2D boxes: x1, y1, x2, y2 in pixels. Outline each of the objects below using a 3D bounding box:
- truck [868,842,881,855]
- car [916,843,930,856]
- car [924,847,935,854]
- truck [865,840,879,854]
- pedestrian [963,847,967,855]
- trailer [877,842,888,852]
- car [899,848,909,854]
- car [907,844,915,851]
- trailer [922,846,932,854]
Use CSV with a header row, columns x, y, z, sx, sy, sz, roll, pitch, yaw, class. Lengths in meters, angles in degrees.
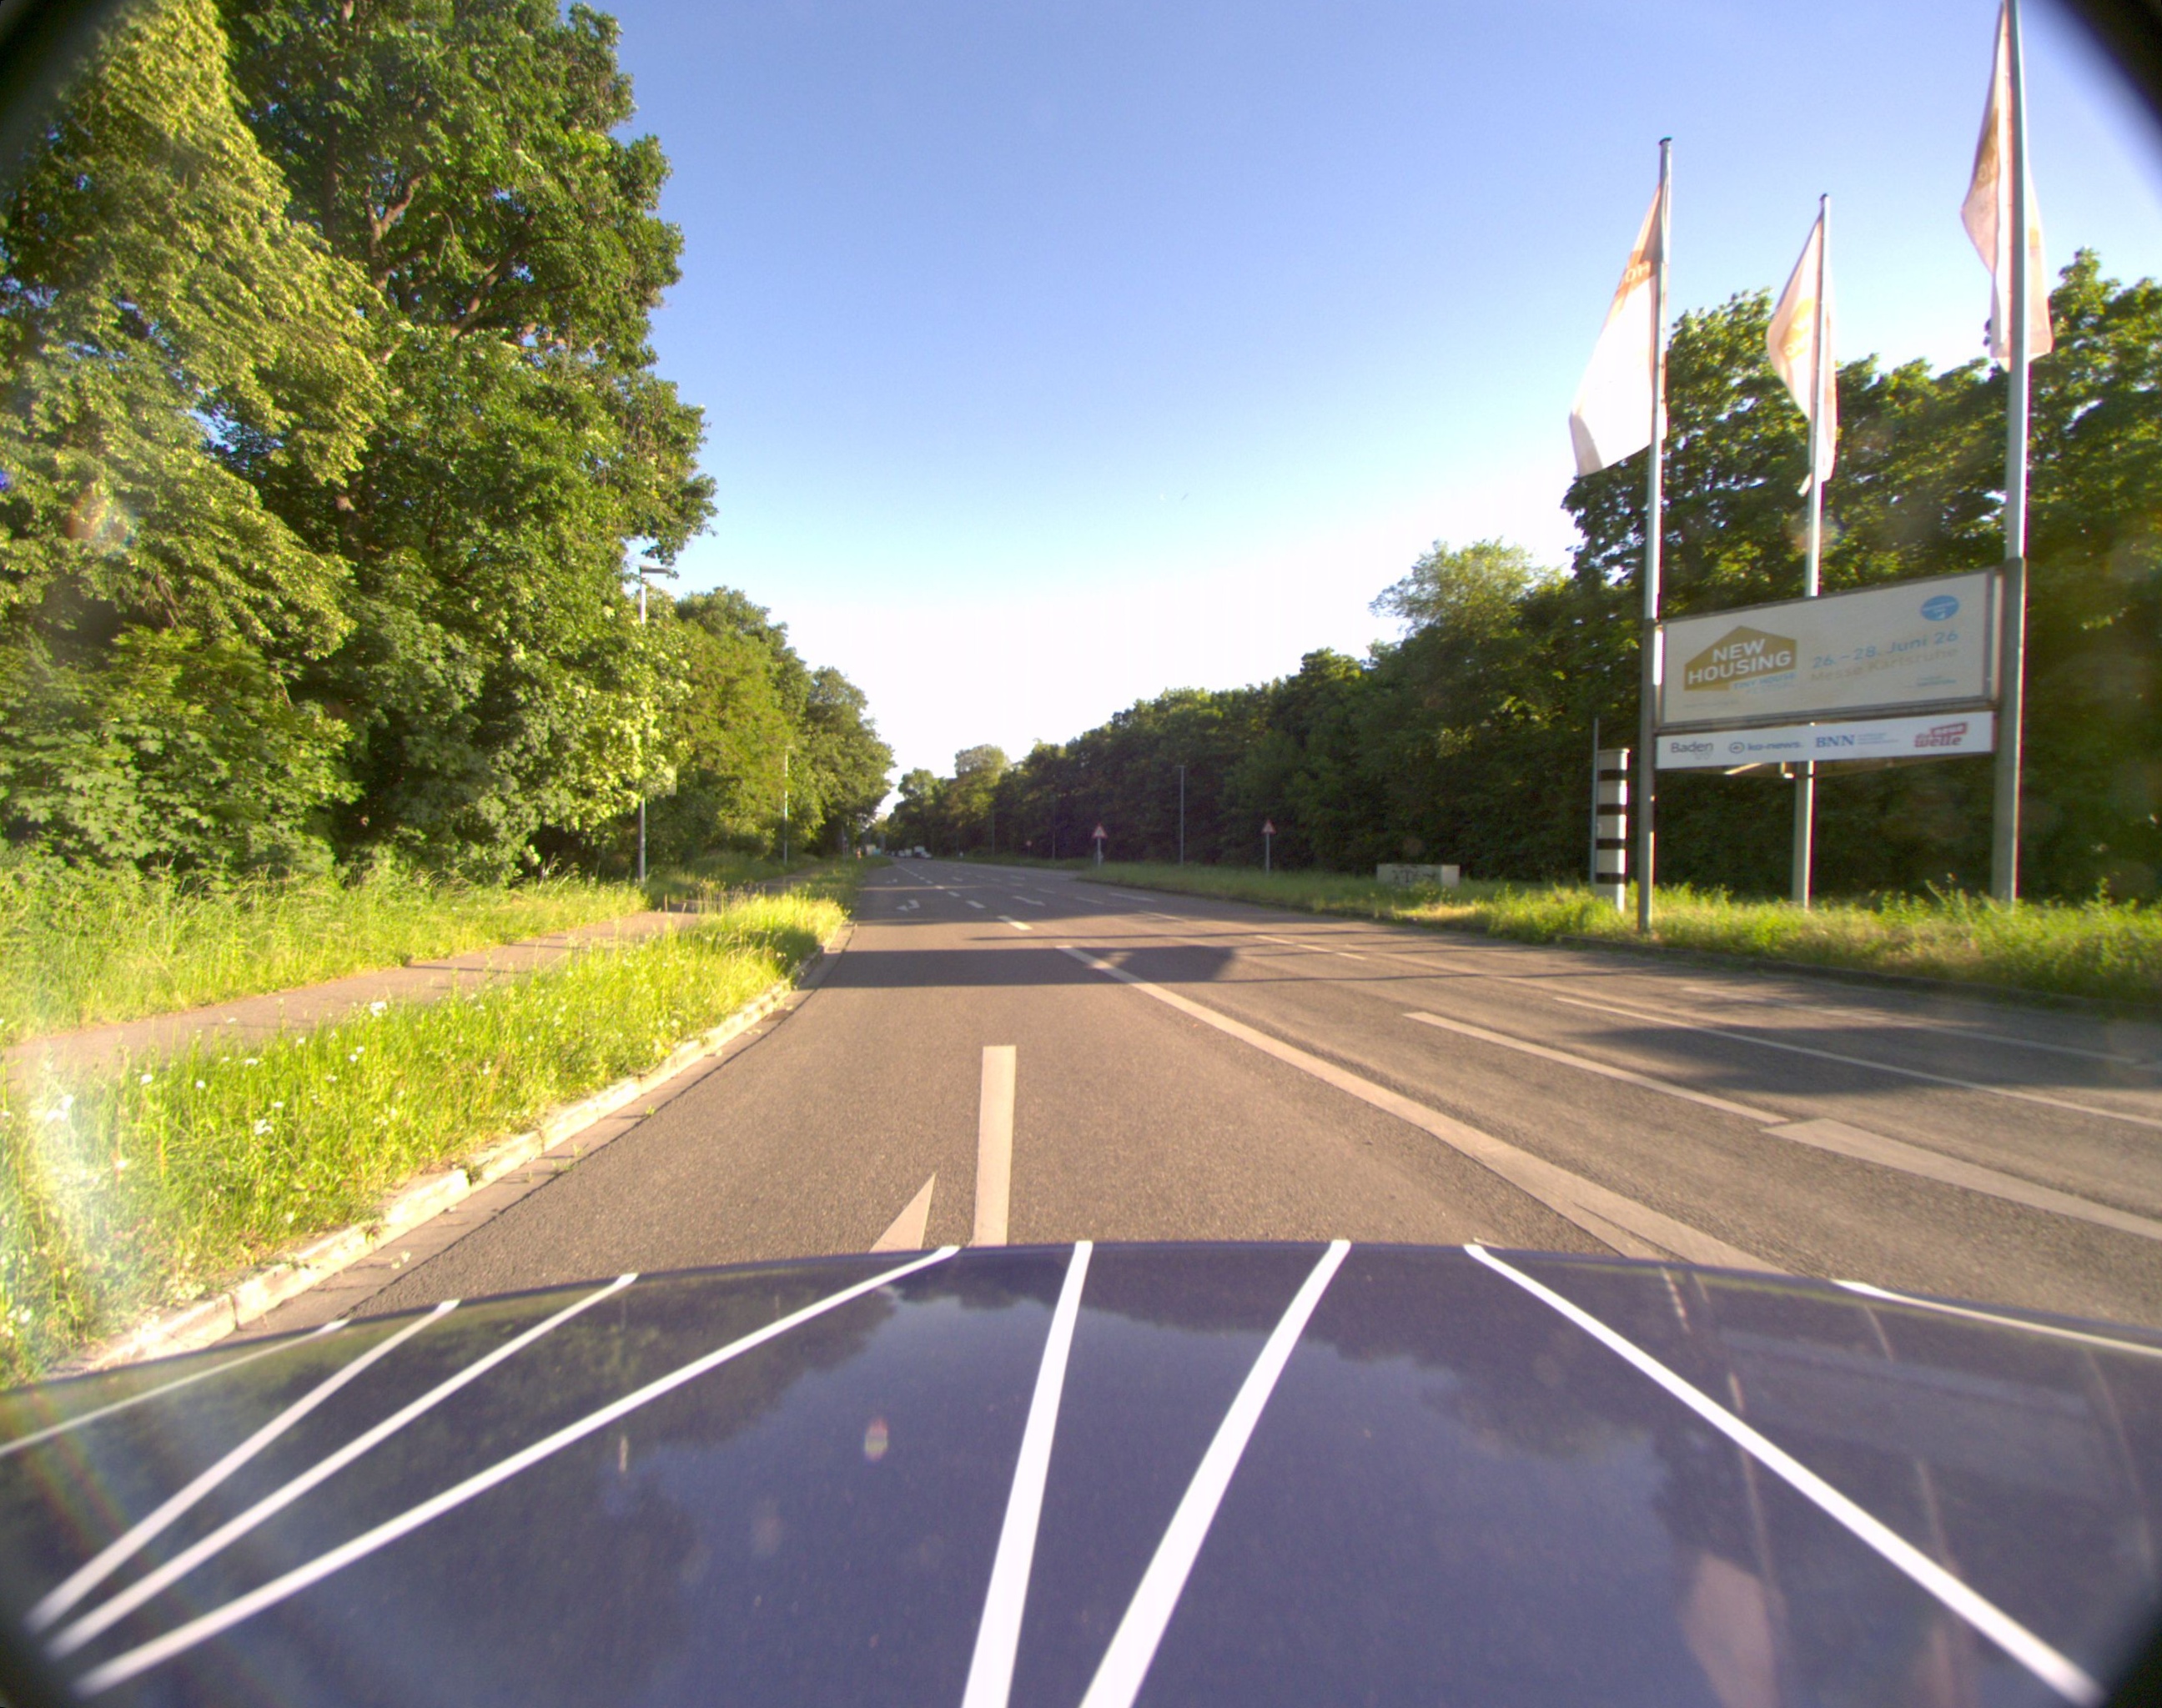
x,y,z,sx,sy,sz,roll,pitch,yaw,class
-47.158,-1.381,173.551,2.393,2.856,5.588,-2,2,-19,truck
-37.527,-1.124,180.425,2.464,2.830,4.790,2,1,-19,car
-32.766,-0.824,164.186,1.917,1.455,4.004,2,1,-19,car
-50.218,-1.797,182.541,2.710,3.218,7.115,2,1,-19,truck
-22.740,-0.528,148.725,0.714,1.556,0.825,1,1,-15,pedestrian
-41.019,-1.468,156.799,1.872,2.165,4.121,-1,2,-19,trailer
-42.305,-0.652,181.144,1.836,1.447,4.472,0,0,-20,car
-47.347,-1.822,211.159,1.694,2.089,4.624,2,1,-19,car
-34.214,-0.875,168.521,1.809,1.719,3.641,2,1,-19,trailer
